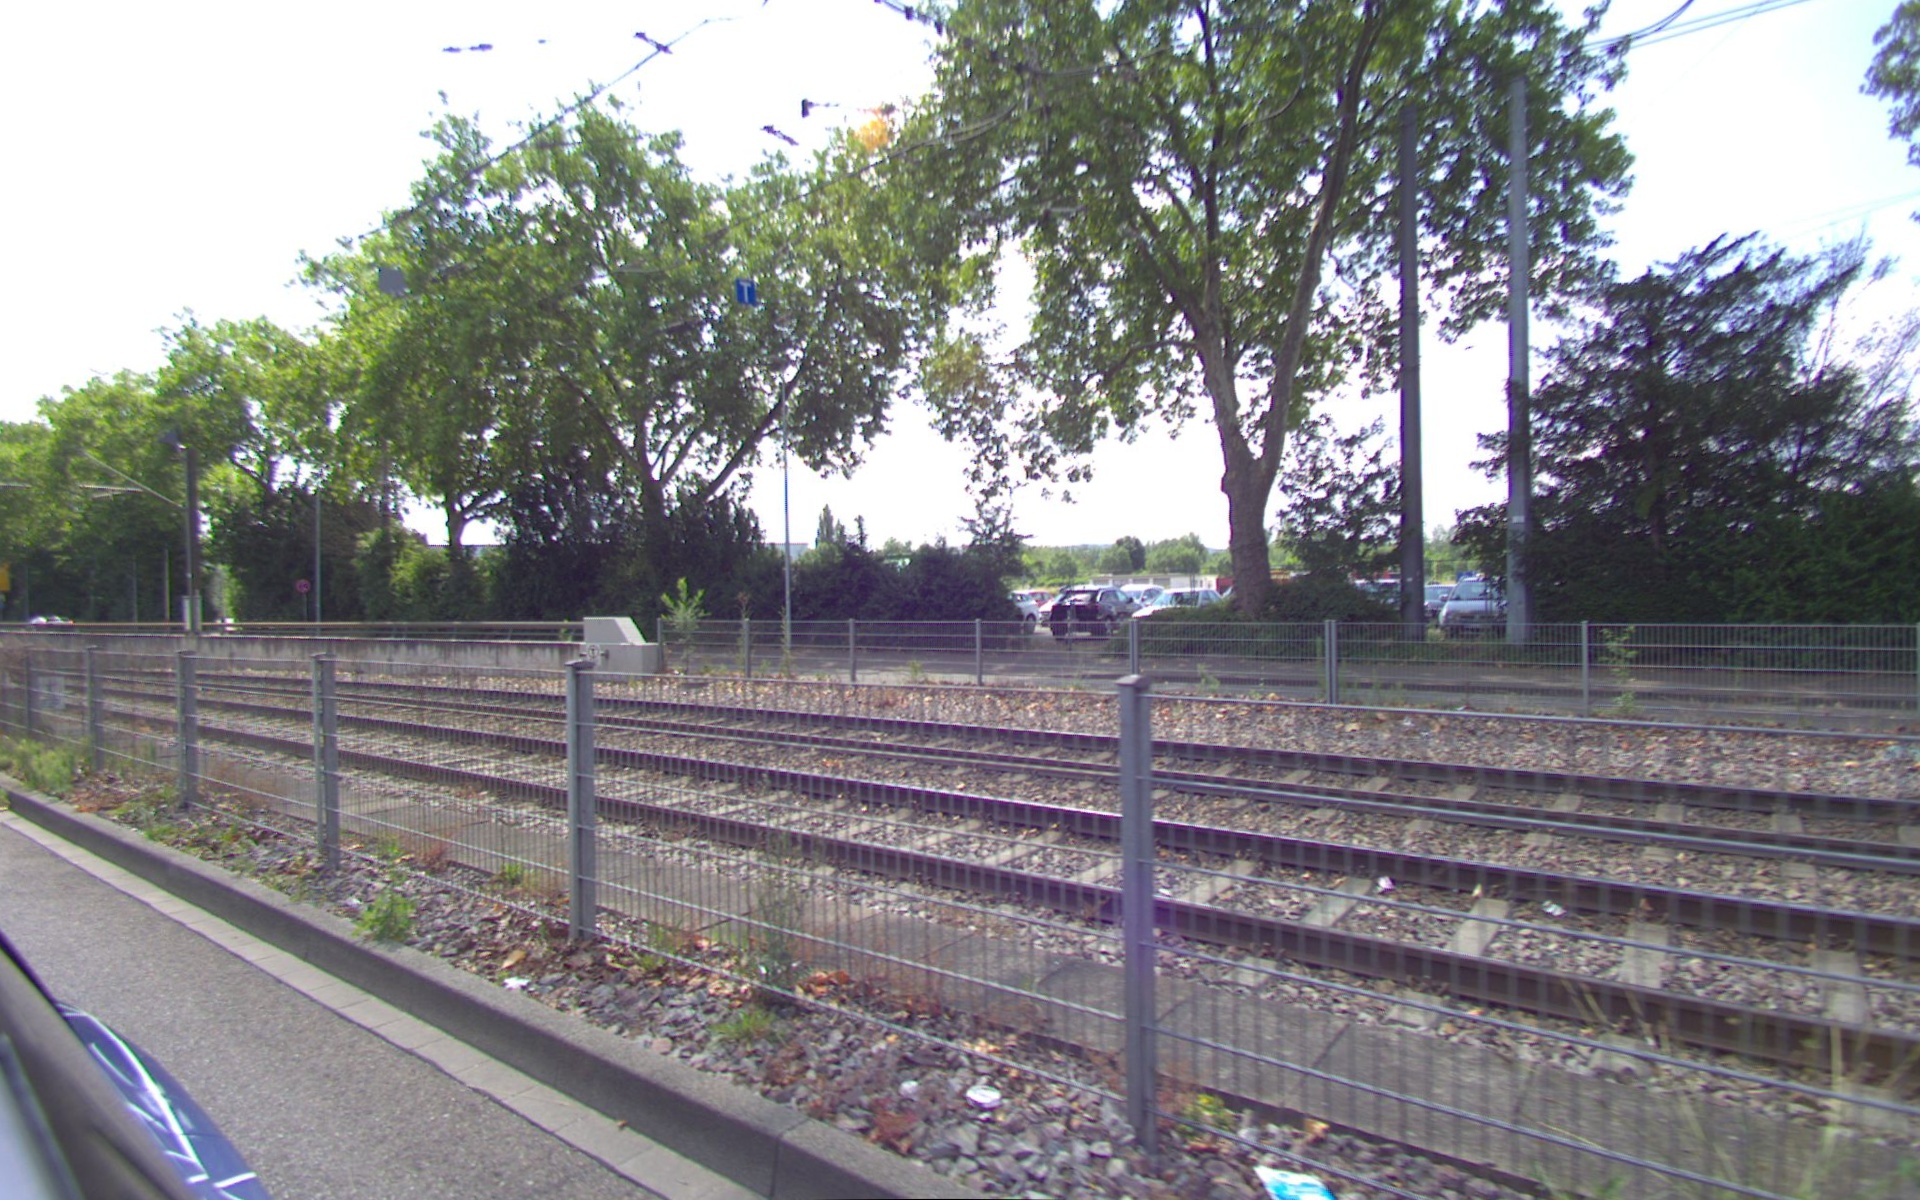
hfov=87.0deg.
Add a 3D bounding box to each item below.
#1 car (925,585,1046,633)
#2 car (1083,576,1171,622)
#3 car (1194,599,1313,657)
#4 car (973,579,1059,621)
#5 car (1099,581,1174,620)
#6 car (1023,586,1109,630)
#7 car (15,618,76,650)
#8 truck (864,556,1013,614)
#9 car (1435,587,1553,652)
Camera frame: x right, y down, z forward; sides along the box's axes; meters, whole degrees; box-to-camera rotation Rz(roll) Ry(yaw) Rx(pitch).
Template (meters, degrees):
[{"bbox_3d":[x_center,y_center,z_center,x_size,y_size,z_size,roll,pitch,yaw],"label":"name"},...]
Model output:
[{"bbox_3d":[0.893,0.260,32.951,1.997,1.453,3.950,-1,1,37],"label":"car"},{"bbox_3d":[7.016,-0.068,42.171,1.997,1.785,3.950,-1,1,37],"label":"car"},{"bbox_3d":[8.476,0.751,29.059,1.997,1.453,3.950,-1,1,37],"label":"car"},{"bbox_3d":[2.556,-0.022,45.723,1.997,1.785,3.950,-1,1,37],"label":"car"},{"bbox_3d":[8.610,-0.014,49.106,1.997,1.785,3.950,-1,1,37],"label":"car"},{"bbox_3d":[4.680,0.339,44.223,1.997,1.785,3.950,-1,1,37],"label":"car"},{"bbox_3d":[-48.221,1.793,53.347,4.290,1.609,1.652,-1,-1,37],"label":"car"},{"bbox_3d":[-0.955,-0.689,53.618,2.705,2.814,8.740,-1,-1,42],"label":"truck"},{"bbox_3d":[13.501,0.435,25.487,1.997,1.453,3.950,-1,1,37],"label":"car"}]
